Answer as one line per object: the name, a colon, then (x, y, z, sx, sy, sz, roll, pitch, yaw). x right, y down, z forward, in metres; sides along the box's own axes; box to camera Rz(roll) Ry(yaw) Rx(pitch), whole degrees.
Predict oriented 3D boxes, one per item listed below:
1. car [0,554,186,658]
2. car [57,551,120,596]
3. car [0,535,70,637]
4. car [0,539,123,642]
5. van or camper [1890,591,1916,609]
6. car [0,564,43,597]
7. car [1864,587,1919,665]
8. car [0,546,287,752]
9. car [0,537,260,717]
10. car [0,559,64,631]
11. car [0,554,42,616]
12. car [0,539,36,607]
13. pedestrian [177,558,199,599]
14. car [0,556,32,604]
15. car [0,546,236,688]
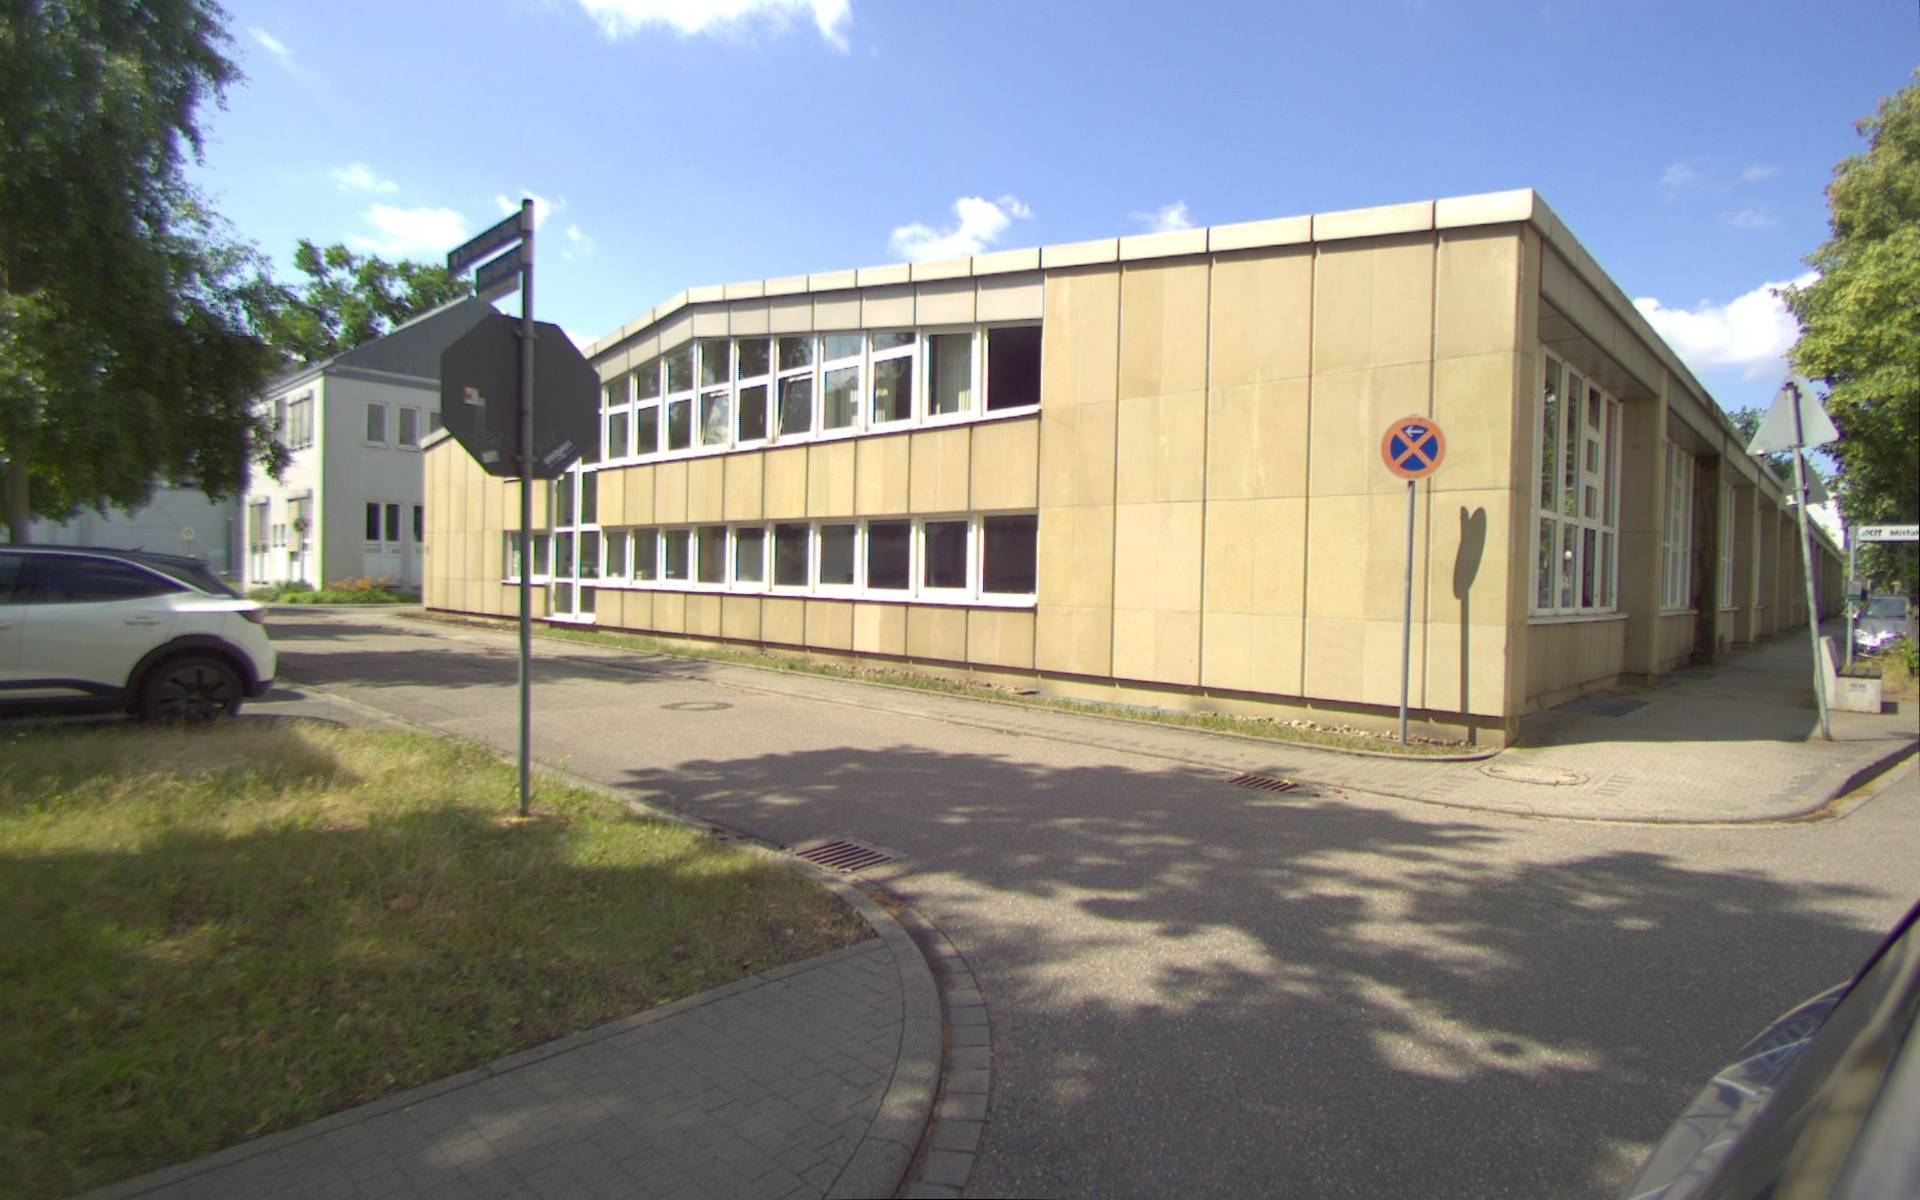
car: (-14.304, 0.062, 15.241, 1.825, 1.493, 3.936, 2, -1, 43)
car: (-42.346, -1.292, 49.159, 3.986, 2.037, 1.802, 2, -1, 43)
car: (-18.767, -0.274, 18.289, 1.995, 1.851, 3.935, 2, 1, 45)
car: (-16.637, -0.204, 16.852, 1.825, 1.659, 3.936, 2, -1, 43)
van or camper: (125.120, 0.013, 134.235, 4.306, 2.391, 1.997, 0, 1, -41)
car: (-44.892, -0.940, 47.903, 3.986, 1.449, 1.802, 2, -1, 43)
car: (21.128, 0.540, 22.283, 1.756, 1.587, 3.759, 3, 2, 42)
car: (-7.748, 0.334, 7.687, 1.665, 1.495, 4.120, 2, 1, 41)
car: (-9.192, 0.209, 9.590, 1.825, 1.598, 3.937, 2, 2, 43)
car: (-21.656, -0.183, 21.342, 1.825, 1.512, 3.936, 2, -1, 43)
car: (-25.402, -0.453, 24.945, 1.825, 1.512, 3.936, 2, -1, 43)
car: (-27.451, -0.747, 27.082, 1.825, 1.842, 3.937, 2, 1, 43)
pedestrian: (-32.208, -0.906, 42.220, 0.716, 1.679, 0.831, 0, 1, -40)
car: (-32.096, -0.718, 31.982, 1.825, 1.512, 3.936, 2, -1, 43)
car: (-10.948, 0.165, 11.987, 1.623, 1.572, 3.574, 2, 1, 39)
